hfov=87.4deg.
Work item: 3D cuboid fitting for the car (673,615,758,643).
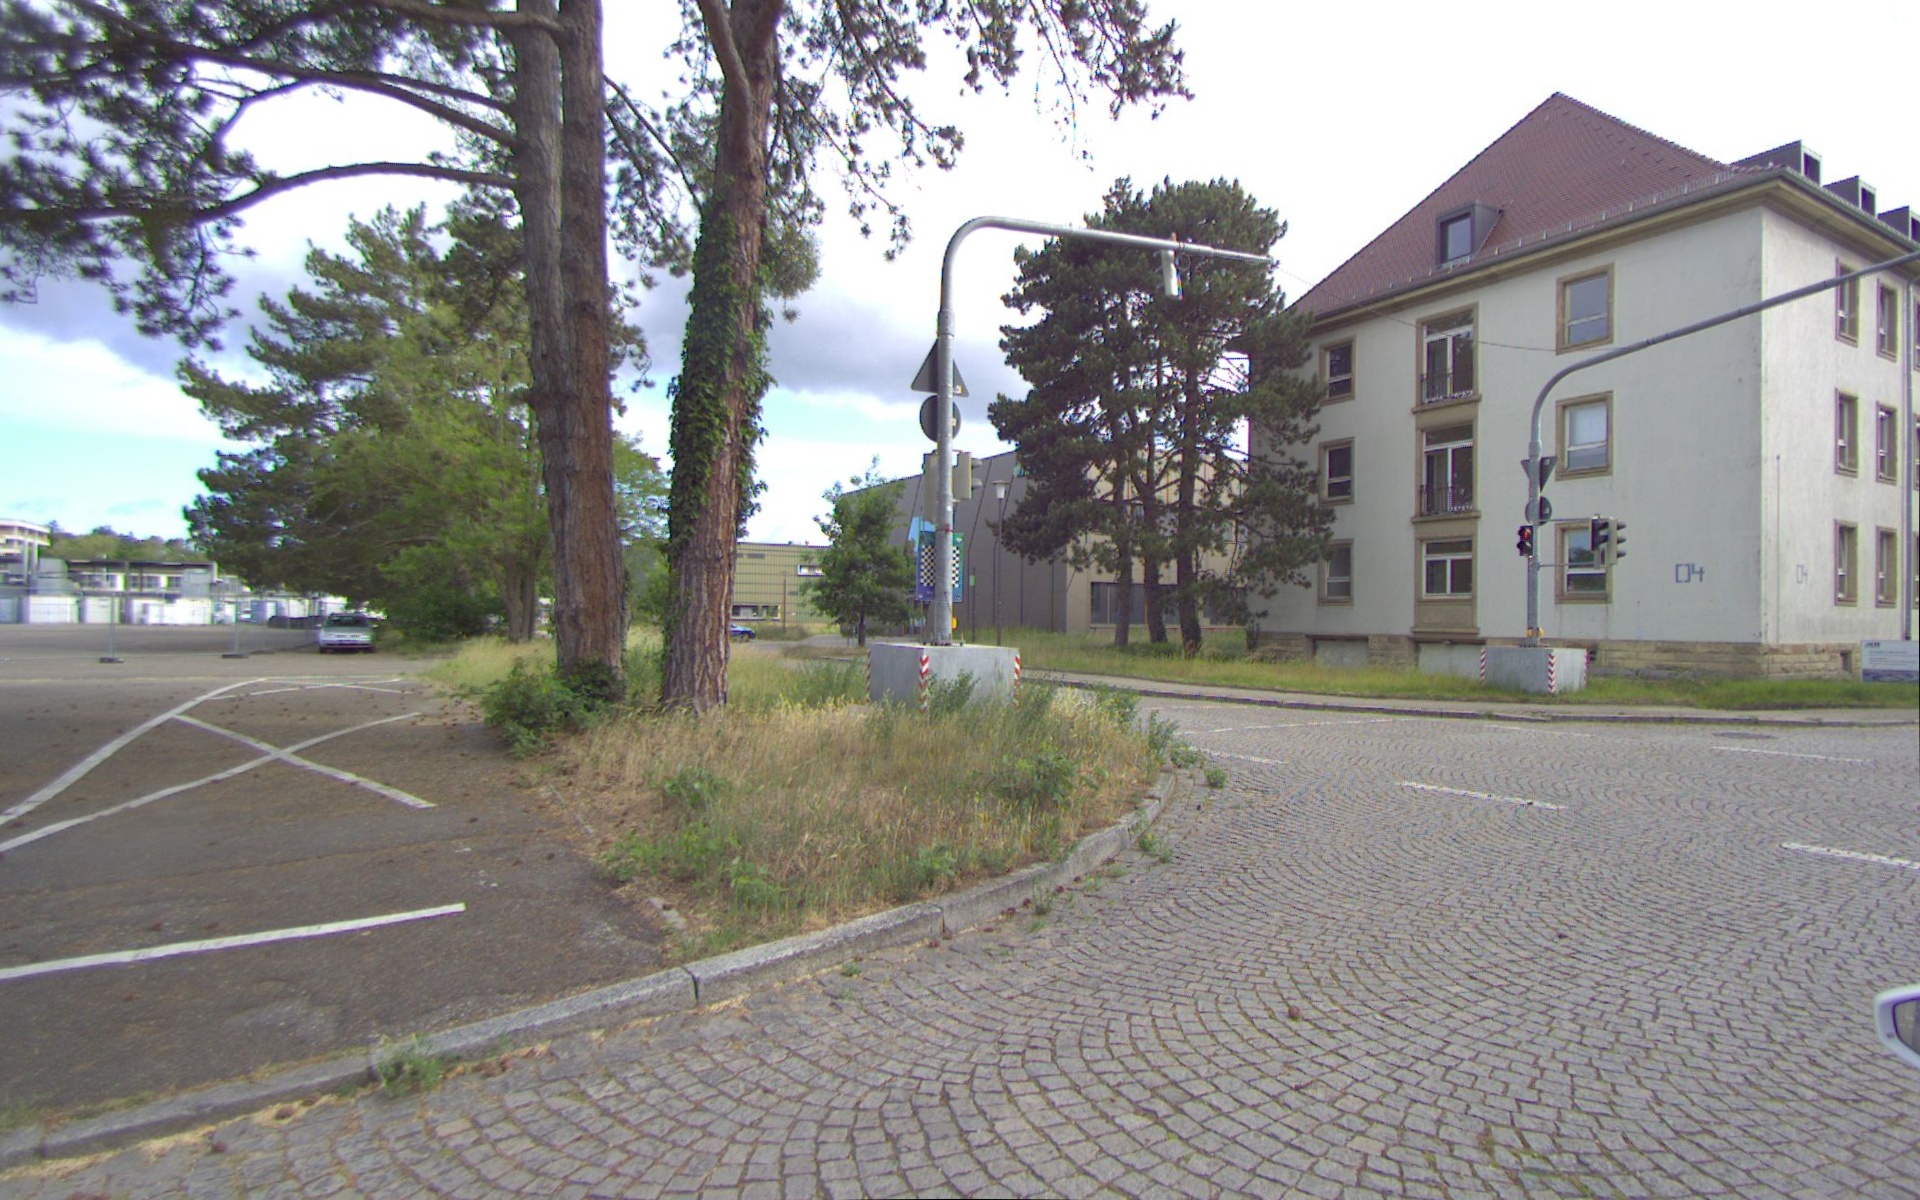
[{"bbox_3d":[-14.389,1.689,59.219,4.486,1.552,1.981,0,0,-35],"label":"car"}]

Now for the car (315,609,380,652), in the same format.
[{"bbox_3d":[-22.642,1.103,37.069,1.905,1.496,4.329,1,-1,-33],"label":"car"}]
